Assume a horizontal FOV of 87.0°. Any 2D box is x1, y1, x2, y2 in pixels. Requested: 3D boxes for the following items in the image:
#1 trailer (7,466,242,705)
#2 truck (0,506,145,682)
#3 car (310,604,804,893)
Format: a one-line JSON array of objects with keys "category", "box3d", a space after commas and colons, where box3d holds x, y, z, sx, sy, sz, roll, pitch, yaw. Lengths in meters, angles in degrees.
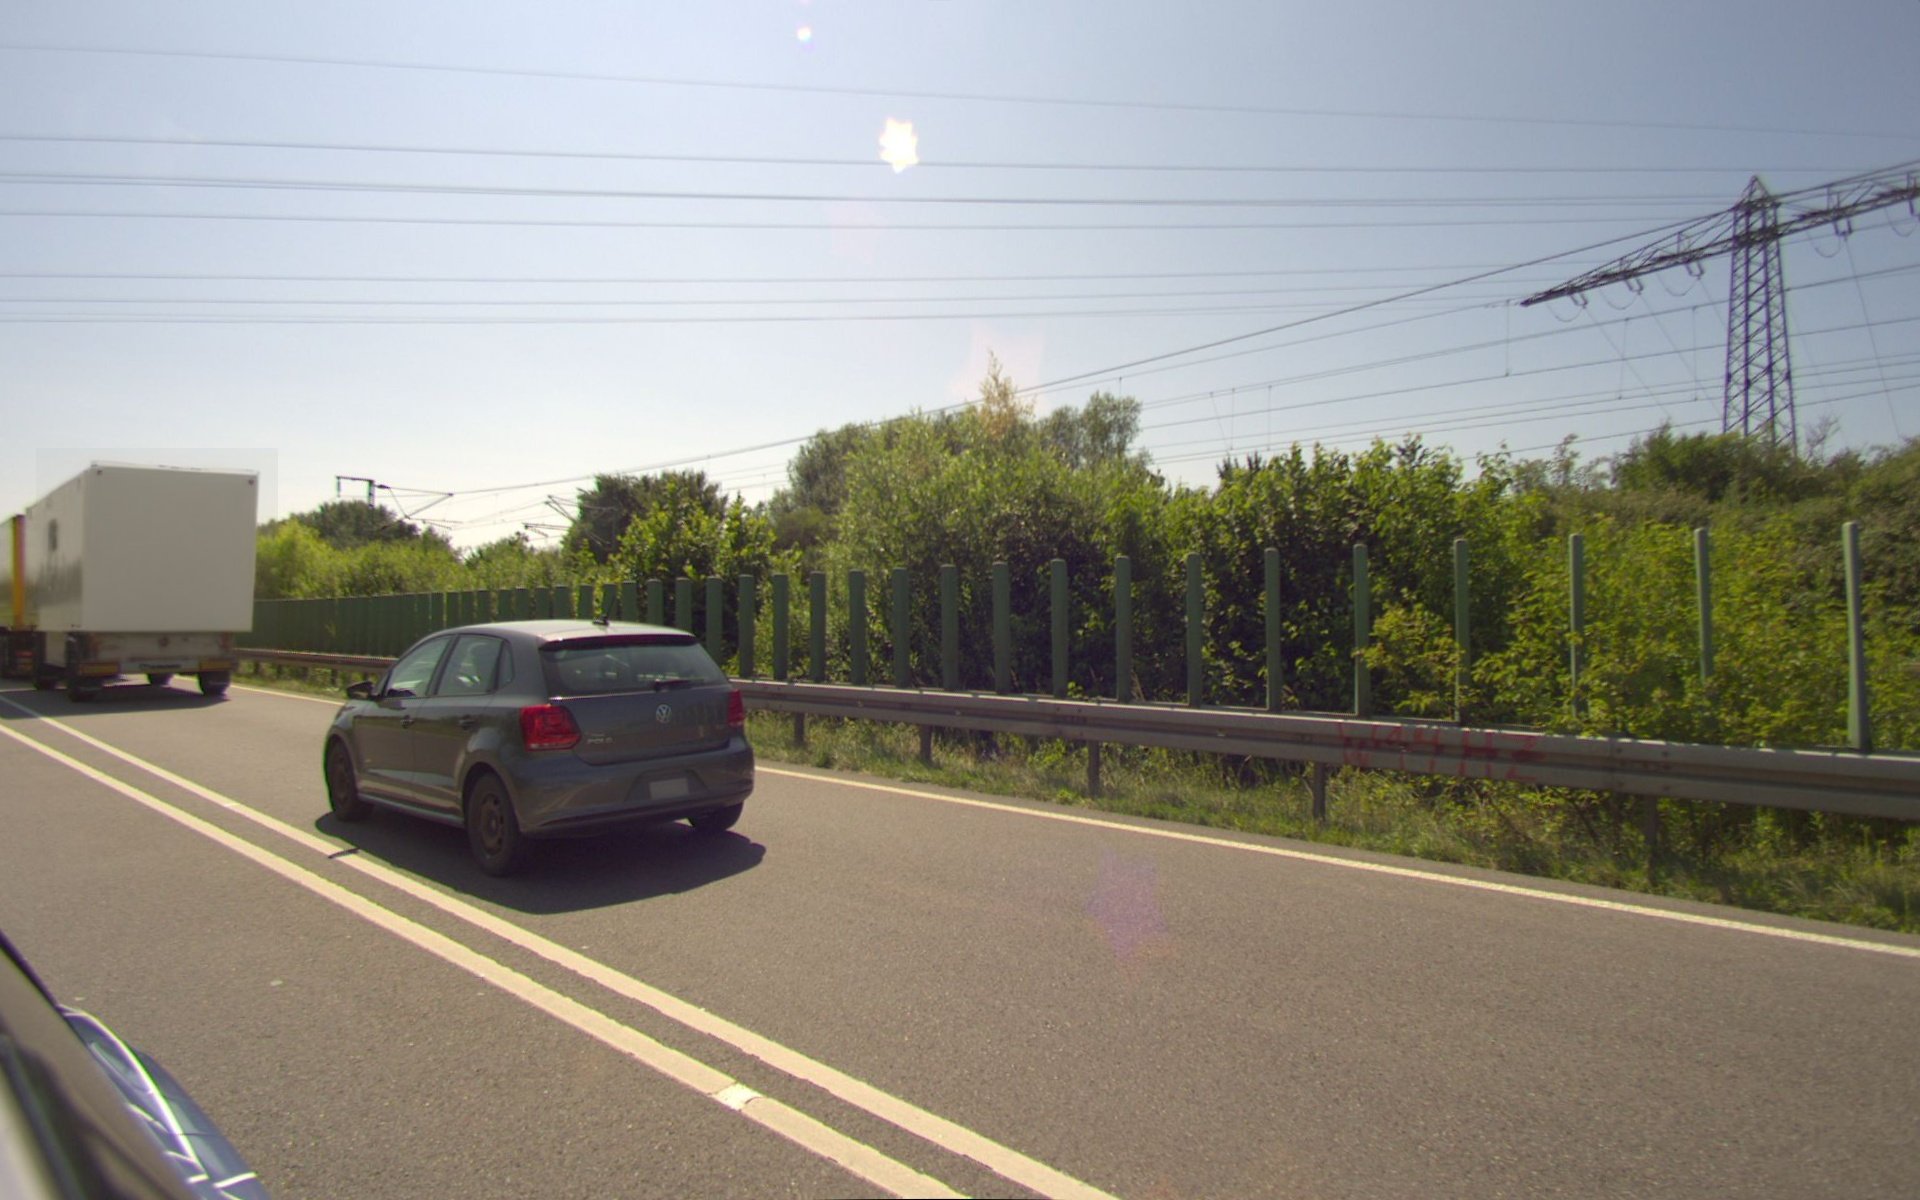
[{"category": "trailer", "box3d": [-18.158, -0.175, 21.700, 9.225, 4.176, 2.521, -1, -1, 42]}, {"category": "truck", "box3d": [-25.542, -0.056, 28.342, 10.600, 4.160, 2.521, -1, -1, 42]}, {"category": "car", "box3d": [-2.917, 0.781, 6.941, 3.792, 1.452, 1.597, -1, -1, 41]}]
